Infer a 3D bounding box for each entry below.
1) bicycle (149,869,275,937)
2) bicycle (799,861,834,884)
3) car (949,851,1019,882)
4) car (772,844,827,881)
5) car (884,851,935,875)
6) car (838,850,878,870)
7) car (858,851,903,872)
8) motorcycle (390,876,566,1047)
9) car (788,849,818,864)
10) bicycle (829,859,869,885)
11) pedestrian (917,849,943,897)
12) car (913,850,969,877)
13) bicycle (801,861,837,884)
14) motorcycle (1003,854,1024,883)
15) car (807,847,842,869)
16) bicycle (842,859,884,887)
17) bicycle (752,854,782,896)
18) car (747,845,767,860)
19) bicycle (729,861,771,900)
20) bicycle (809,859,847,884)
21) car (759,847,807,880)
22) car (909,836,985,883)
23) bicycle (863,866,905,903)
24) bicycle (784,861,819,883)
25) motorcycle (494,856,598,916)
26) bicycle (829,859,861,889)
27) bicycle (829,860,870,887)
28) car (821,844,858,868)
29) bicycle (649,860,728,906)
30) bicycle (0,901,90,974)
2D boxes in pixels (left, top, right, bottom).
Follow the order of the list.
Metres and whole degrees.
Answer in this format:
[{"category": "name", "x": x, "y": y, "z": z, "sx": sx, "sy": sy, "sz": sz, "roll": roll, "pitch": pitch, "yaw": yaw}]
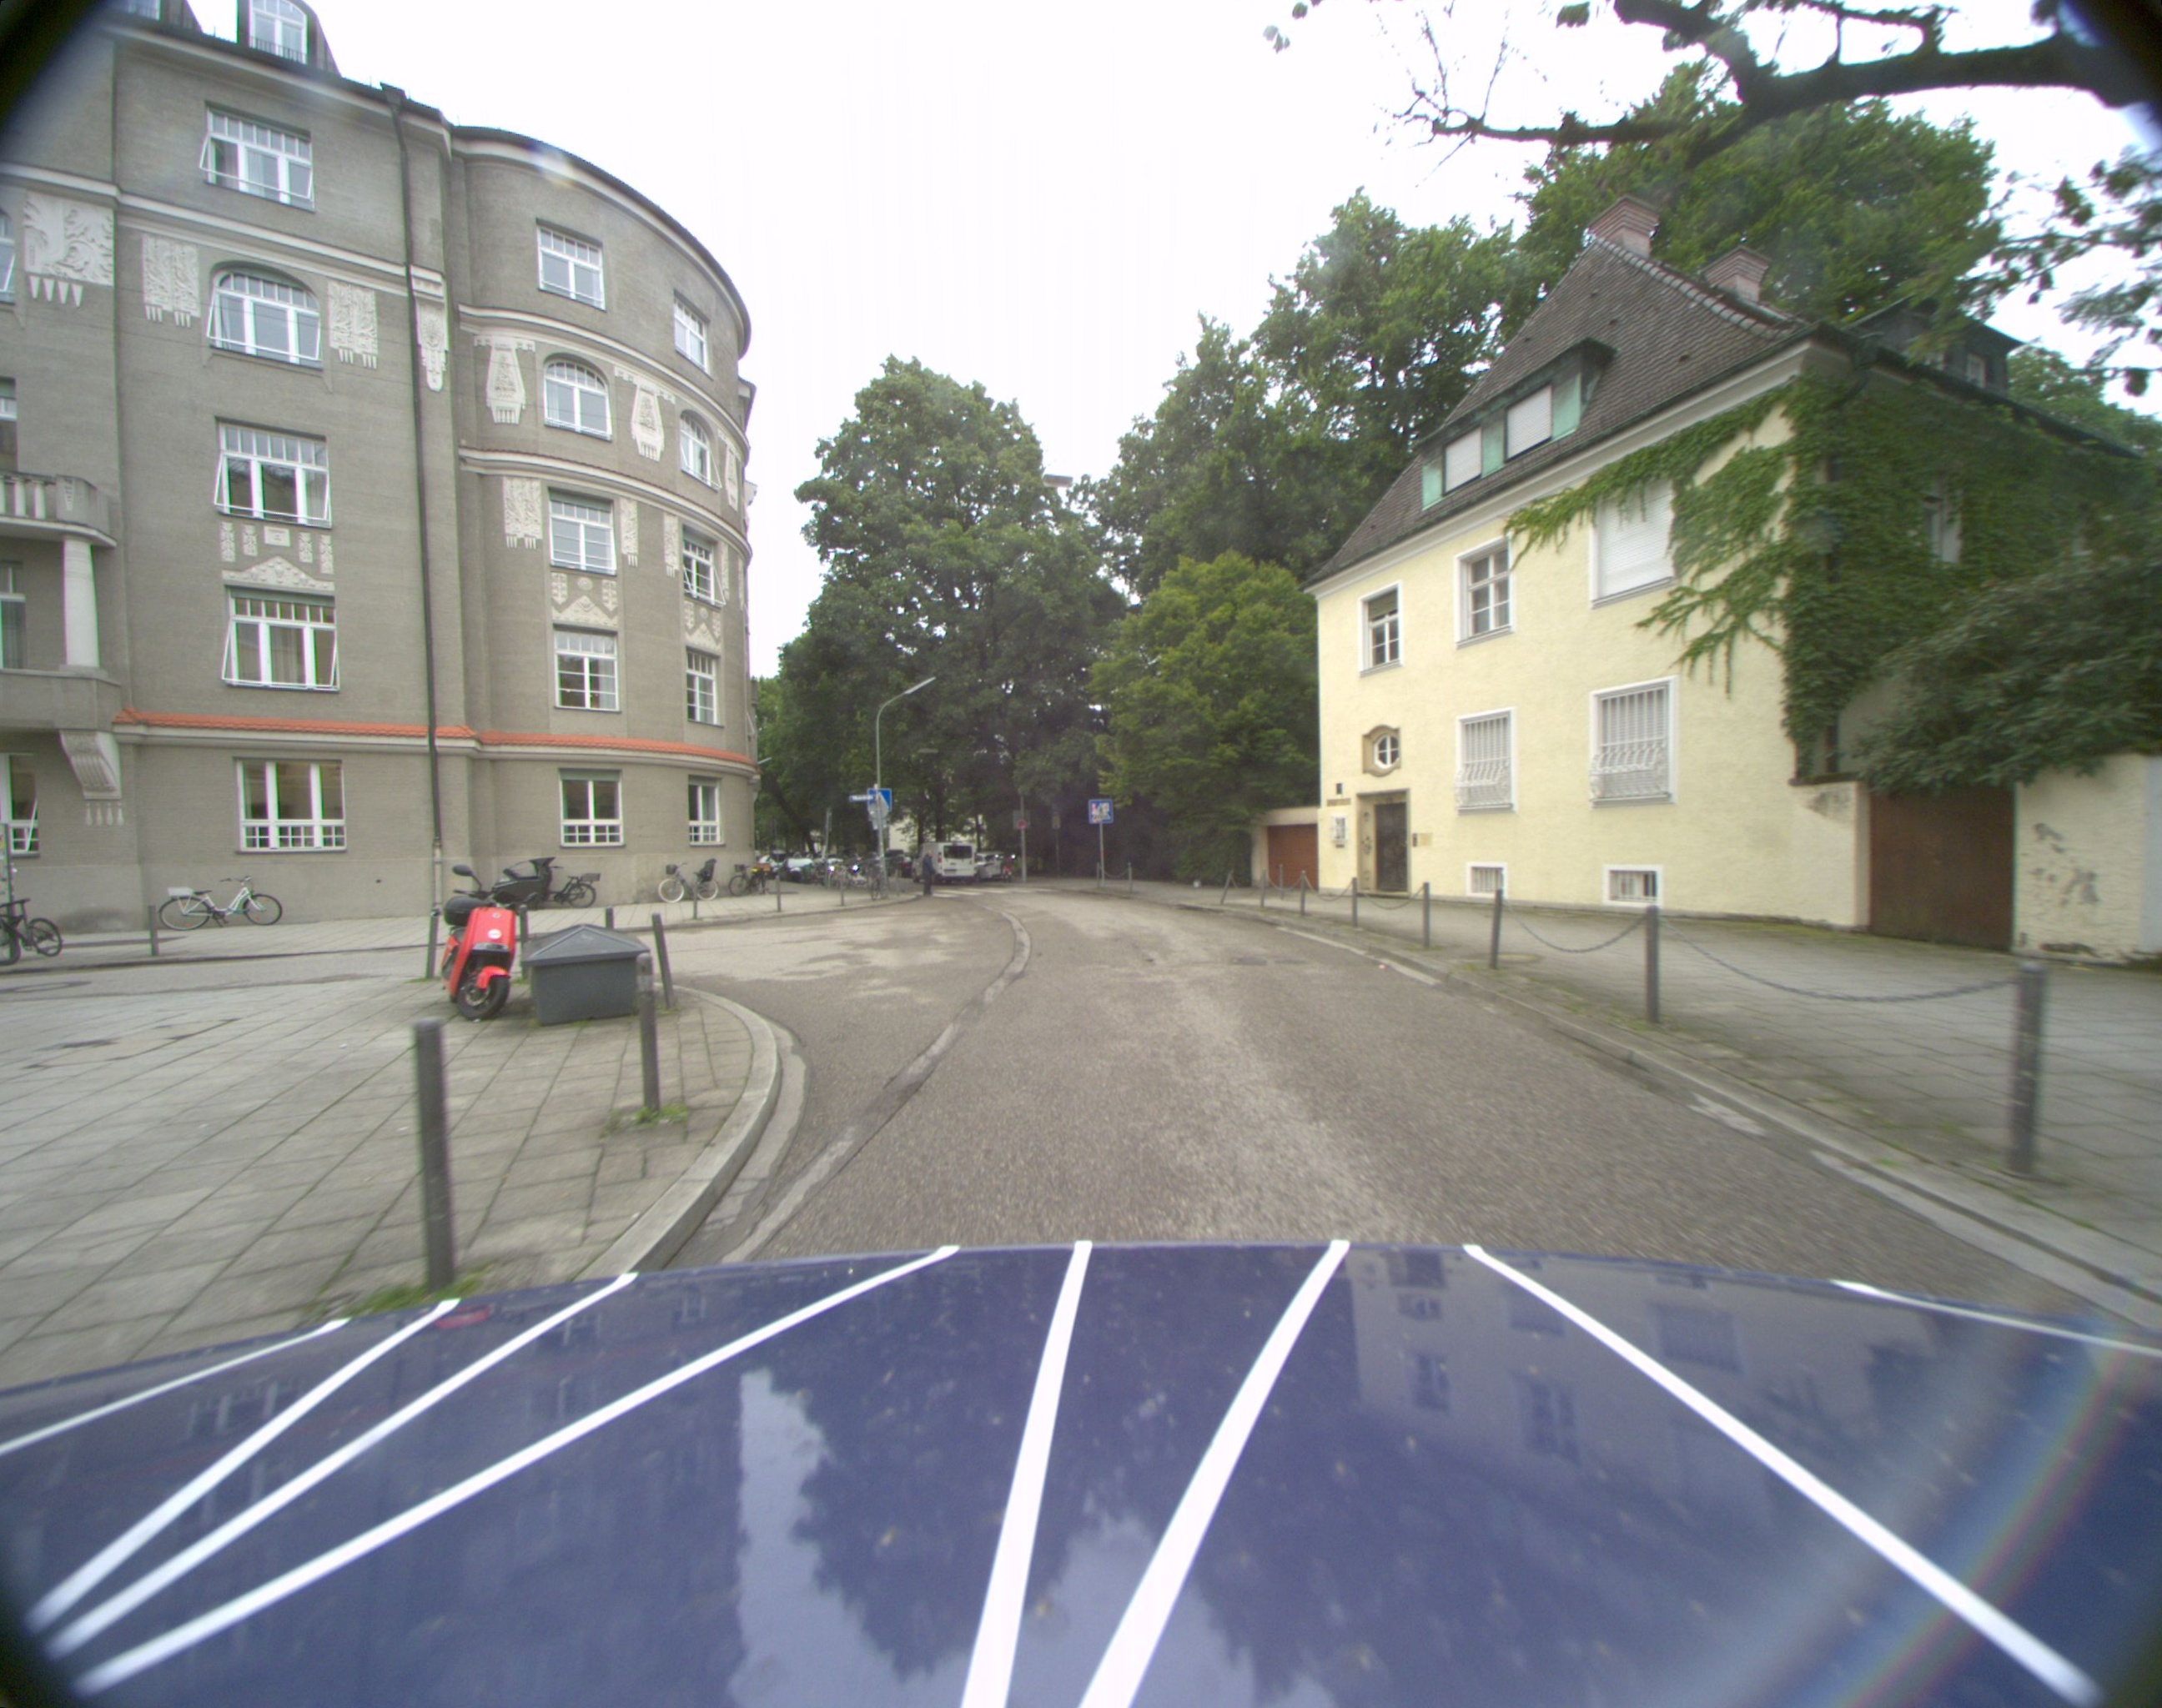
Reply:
[{"category": "bicycle", "x": -19.084, "y": 1.047, "z": 16.736, "sx": 1.678, "sy": 1.342, "sz": 0.619, "roll": -2, "pitch": 2, "yaw": -33}, {"category": "bicycle", "x": -13.984, "y": 0.968, "z": 40.159, "sx": 1.685, "sy": 1.141, "sz": 0.511, "roll": -1, "pitch": 2, "yaw": -13}, {"category": "car", "x": -4.979, "y": 0.594, "z": 38.477, "sx": 1.627, "sy": 1.440, "sz": 4.424, "roll": -3, "pitch": 1, "yaw": -35}, {"category": "car", "x": -16.292, "y": 0.435, "z": 43.830, "sx": 2.003, "sy": 1.941, "sz": 4.648, "roll": -2, "pitch": 2, "yaw": -32}, {"category": "car", "x": -11.175, "y": 0.579, "z": 49.255, "sx": 1.780, "sy": 1.424, "sz": 4.505, "roll": -2, "pitch": 1, "yaw": -32}, {"category": "car", "x": -17.181, "y": 0.439, "z": 58.418, "sx": 1.780, "sy": 1.424, "sz": 4.505, "roll": -2, "pitch": 1, "yaw": -32}, {"category": "car", "x": -14.200, "y": 0.513, "z": 53.704, "sx": 1.780, "sy": 1.424, "sz": 4.505, "roll": -2, "pitch": 1, "yaw": -32}, {"category": "motorcycle", "x": -5.771, "y": 0.914, "z": 7.228, "sx": 2.078, "sy": 1.348, "sz": 0.819, "roll": 0, "pitch": 2, "yaw": 39}, {"category": "car", "x": -26.619, "y": 0.224, "z": 72.651, "sx": 1.780, "sy": 1.424, "sz": 4.505, "roll": -2, "pitch": 1, "yaw": -32}, {"category": "bicycle", "x": -10.735, "y": 0.809, "z": 35.180, "sx": 1.685, "sy": 1.141, "sz": 0.511, "roll": -1, "pitch": 2, "yaw": -13}, {"category": "pedestrian", "x": -5.354, "y": 0.648, "z": 26.868, "sx": 0.727, "sy": 1.632, "sz": 0.811, "roll": -2, "pitch": 2, "yaw": -22}, {"category": "car", "x": -8.107, "y": 0.516, "z": 43.701, "sx": 1.627, "sy": 1.440, "sz": 4.424, "roll": -2, "pitch": 1, "yaw": -31}, {"category": "bicycle", "x": -13.510, "y": 0.943, "z": 39.256, "sx": 1.685, "sy": 1.141, "sz": 0.511, "roll": -1, "pitch": 2, "yaw": -13}, {"category": "motorcycle", "x": -3.029, "y": 0.643, "z": 34.279, "sx": 0.859, "sy": 1.177, "sz": 2.004, "roll": -5, "pitch": 2, "yaw": -4}, {"category": "car", "x": -22.523, "y": 0.369, "z": 66.617, "sx": 1.780, "sy": 1.825, "sz": 4.505, "roll": -2, "pitch": 1, "yaw": -32}, {"category": "bicycle", "x": -9.525, "y": 0.822, "z": 33.295, "sx": 1.709, "sy": 1.141, "sz": 0.511, "roll": -1, "pitch": 2, "yaw": -13}, {"category": "bicycle", "x": -11.284, "y": 0.716, "z": 27.351, "sx": 0.739, "sy": 1.405, "sz": 1.923, "roll": -1, "pitch": 2, "yaw": -16}, {"category": "car", "x": -44.659, "y": -0.264, "z": 104.617, "sx": 2.003, "sy": 1.941, "sz": 4.649, "roll": -2, "pitch": 2, "yaw": -29}, {"category": "bicycle", "x": -10.940, "y": 0.846, "z": 25.165, "sx": 0.565, "sy": 1.150, "sz": 1.925, "roll": 2, "pitch": 1, "yaw": -2}, {"category": "bicycle", "x": -12.290, "y": 0.849, "z": 36.991, "sx": 1.685, "sy": 1.141, "sz": 0.511, "roll": -1, "pitch": 2, "yaw": -13}, {"category": "car", "x": -19.022, "y": 0.563, "z": 48.398, "sx": 2.003, "sy": 1.941, "sz": 4.648, "roll": -2, "pitch": 2, "yaw": -32}, {"category": "car", "x": -6.425, "y": 0.313, "z": 35.939, "sx": 2.049, "sy": 2.029, "sz": 4.948, "roll": -2, "pitch": -1, "yaw": -28}, {"category": "bicycle", "x": -6.090, "y": 0.926, "z": 23.625, "sx": 0.511, "sy": 1.004, "sz": 2.009, "roll": -1, "pitch": 2, "yaw": 8}, {"category": "bicycle", "x": -15.015, "y": 0.953, "z": 40.888, "sx": 1.685, "sy": 1.141, "sz": 0.511, "roll": -1, "pitch": 2, "yaw": -13}, {"category": "motorcycle", "x": -14.056, "y": 0.809, "z": 20.051, "sx": 2.150, "sy": 1.433, "sz": 0.736, "roll": -2, "pitch": 2, "yaw": -30}, {"category": "bicycle", "x": -9.568, "y": 0.792, "z": 30.859, "sx": 0.511, "sy": 1.141, "sz": 1.685, "roll": -1, "pitch": 2, "yaw": 8}, {"category": "bicycle", "x": -10.290, "y": 0.849, "z": 33.796, "sx": 1.685, "sy": 1.141, "sz": 0.465, "roll": -1, "pitch": 2, "yaw": -13}, {"category": "car", "x": -19.916, "y": 0.150, "z": 62.592, "sx": 1.780, "sy": 1.808, "sz": 4.505, "roll": -2, "pitch": 1, "yaw": -32}, {"category": "bicycle", "x": -11.615, "y": 0.832, "z": 22.558, "sx": 0.736, "sy": 1.249, "sz": 1.929, "roll": 0, "pitch": 2, "yaw": 31}, {"category": "bicycle", "x": -17.543, "y": 1.368, "z": 12.659, "sx": 0.541, "sy": 1.009, "sz": 1.803, "roll": -2, "pitch": 3, "yaw": -29}]
